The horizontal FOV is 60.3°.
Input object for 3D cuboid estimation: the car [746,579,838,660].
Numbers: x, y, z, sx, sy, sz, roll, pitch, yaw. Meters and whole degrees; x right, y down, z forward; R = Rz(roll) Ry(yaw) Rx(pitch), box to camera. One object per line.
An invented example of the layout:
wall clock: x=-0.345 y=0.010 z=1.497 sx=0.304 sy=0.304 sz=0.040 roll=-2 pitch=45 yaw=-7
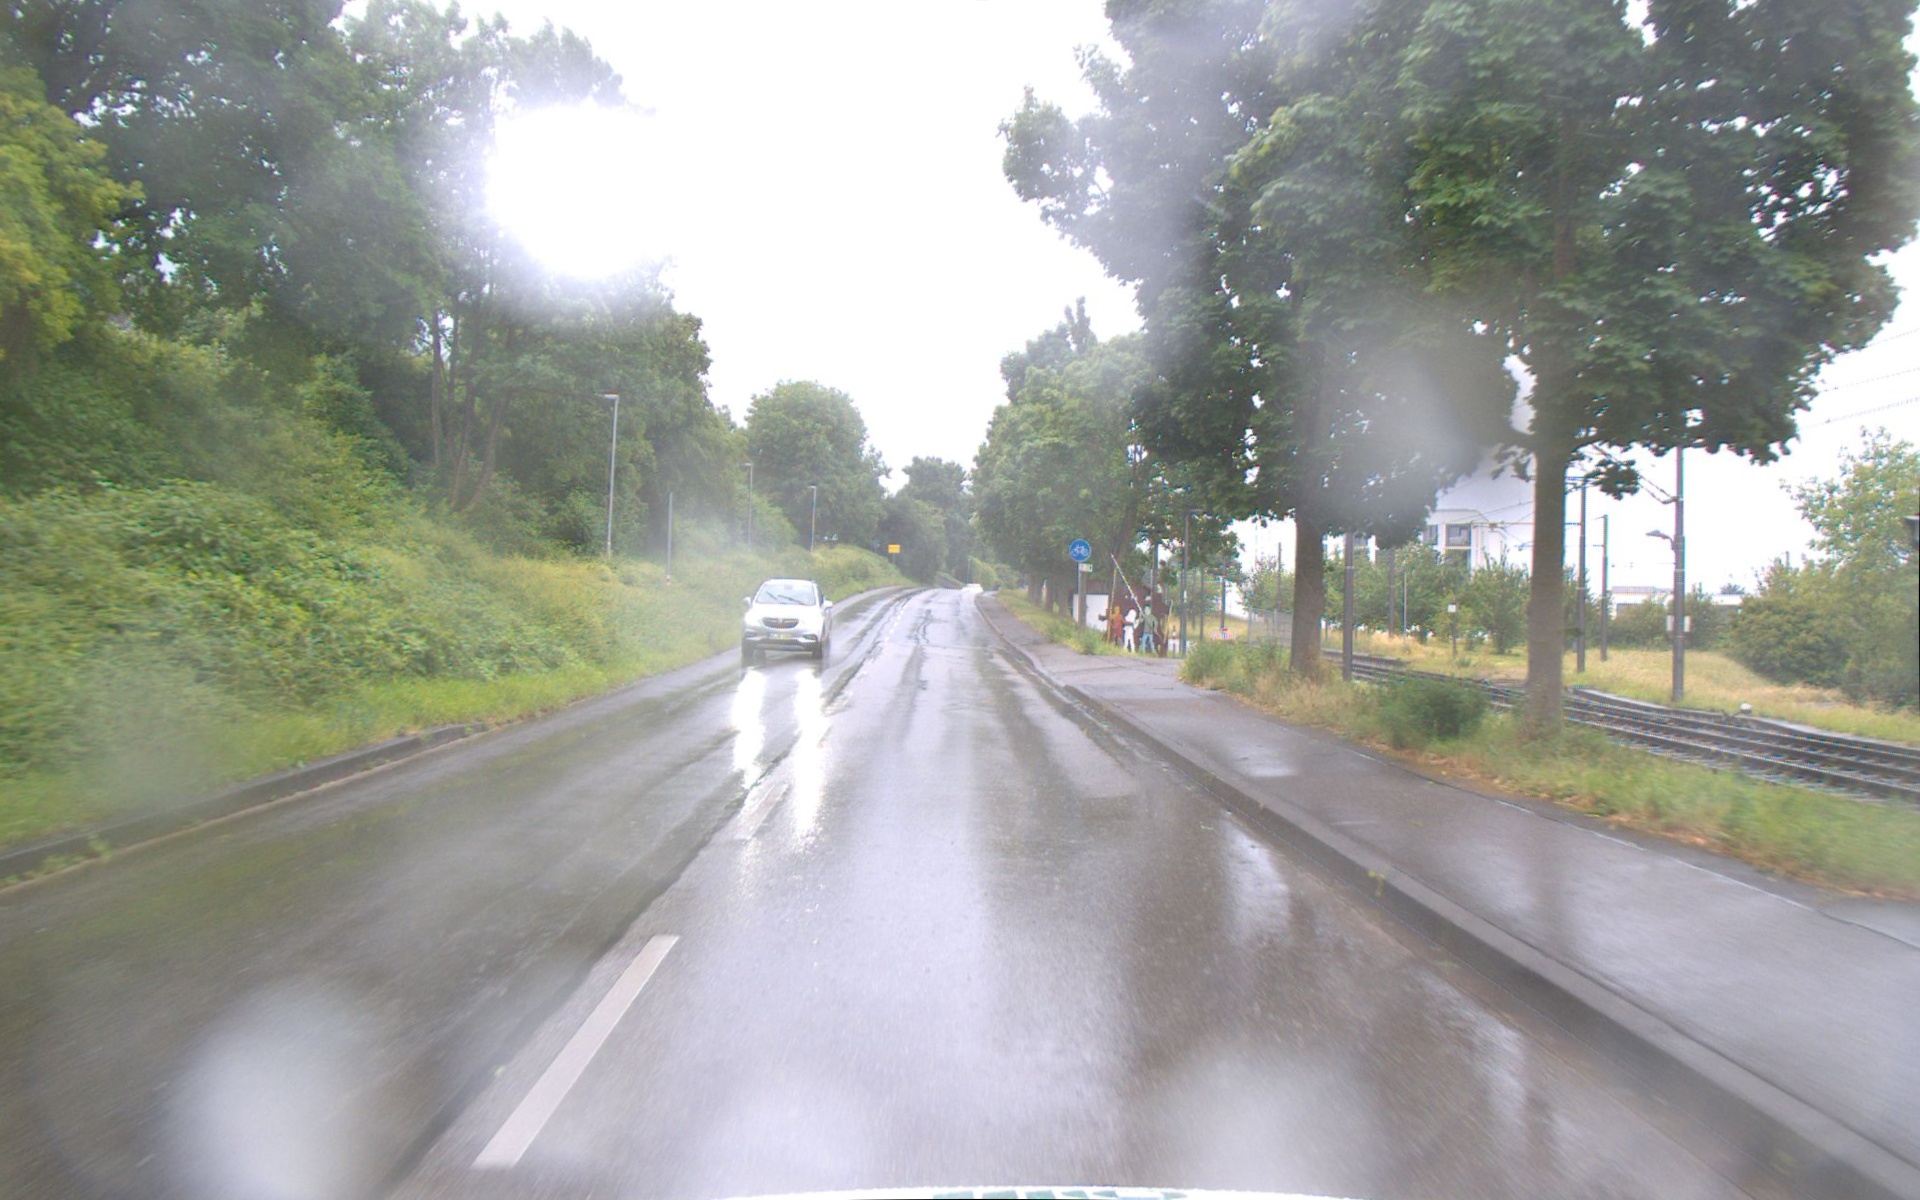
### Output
car: x=-3.678 y=0.378 z=36.785 sx=1.709 sy=1.640 sz=4.087 roll=2 pitch=1 yaw=-2
